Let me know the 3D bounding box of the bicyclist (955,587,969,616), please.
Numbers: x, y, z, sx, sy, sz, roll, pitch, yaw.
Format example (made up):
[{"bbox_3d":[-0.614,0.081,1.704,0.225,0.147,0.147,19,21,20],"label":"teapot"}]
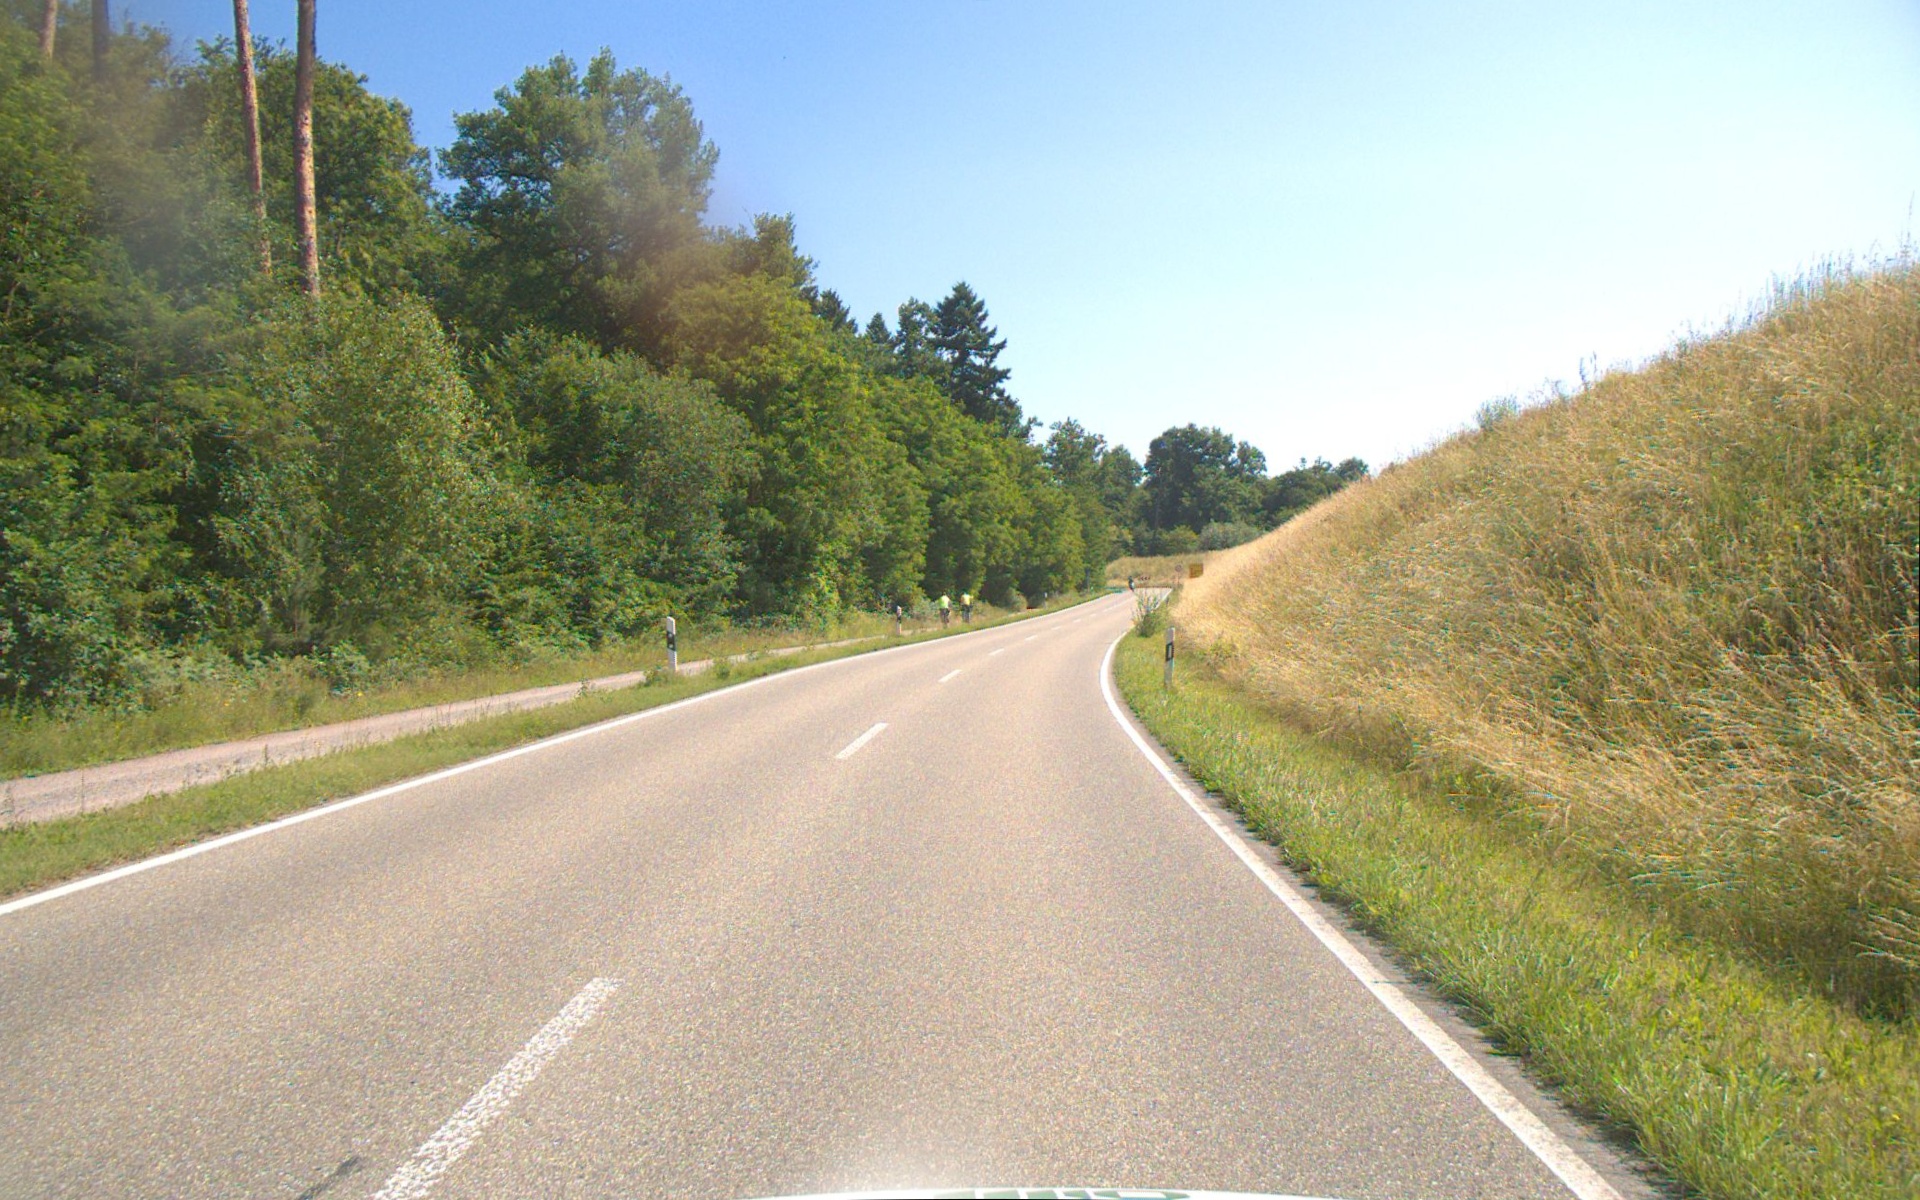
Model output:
[{"bbox_3d":[0.112,0.060,82.676,0.592,1.440,0.703,-2,0,8],"label":"bicyclist"}]

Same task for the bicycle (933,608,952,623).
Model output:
[{"bbox_3d":[-0.857,0.778,82.794,0.606,0.693,2.138,-2,0,8],"label":"bicycle"}]

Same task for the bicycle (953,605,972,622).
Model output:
[{"bbox_3d":[0.147,0.690,82.653,0.626,0.802,2.138,-2,0,8],"label":"bicycle"}]

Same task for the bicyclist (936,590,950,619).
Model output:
[{"bbox_3d":[-0.849,0.209,82.818,0.592,1.440,0.703,1,-1,8],"label":"bicyclist"}]
